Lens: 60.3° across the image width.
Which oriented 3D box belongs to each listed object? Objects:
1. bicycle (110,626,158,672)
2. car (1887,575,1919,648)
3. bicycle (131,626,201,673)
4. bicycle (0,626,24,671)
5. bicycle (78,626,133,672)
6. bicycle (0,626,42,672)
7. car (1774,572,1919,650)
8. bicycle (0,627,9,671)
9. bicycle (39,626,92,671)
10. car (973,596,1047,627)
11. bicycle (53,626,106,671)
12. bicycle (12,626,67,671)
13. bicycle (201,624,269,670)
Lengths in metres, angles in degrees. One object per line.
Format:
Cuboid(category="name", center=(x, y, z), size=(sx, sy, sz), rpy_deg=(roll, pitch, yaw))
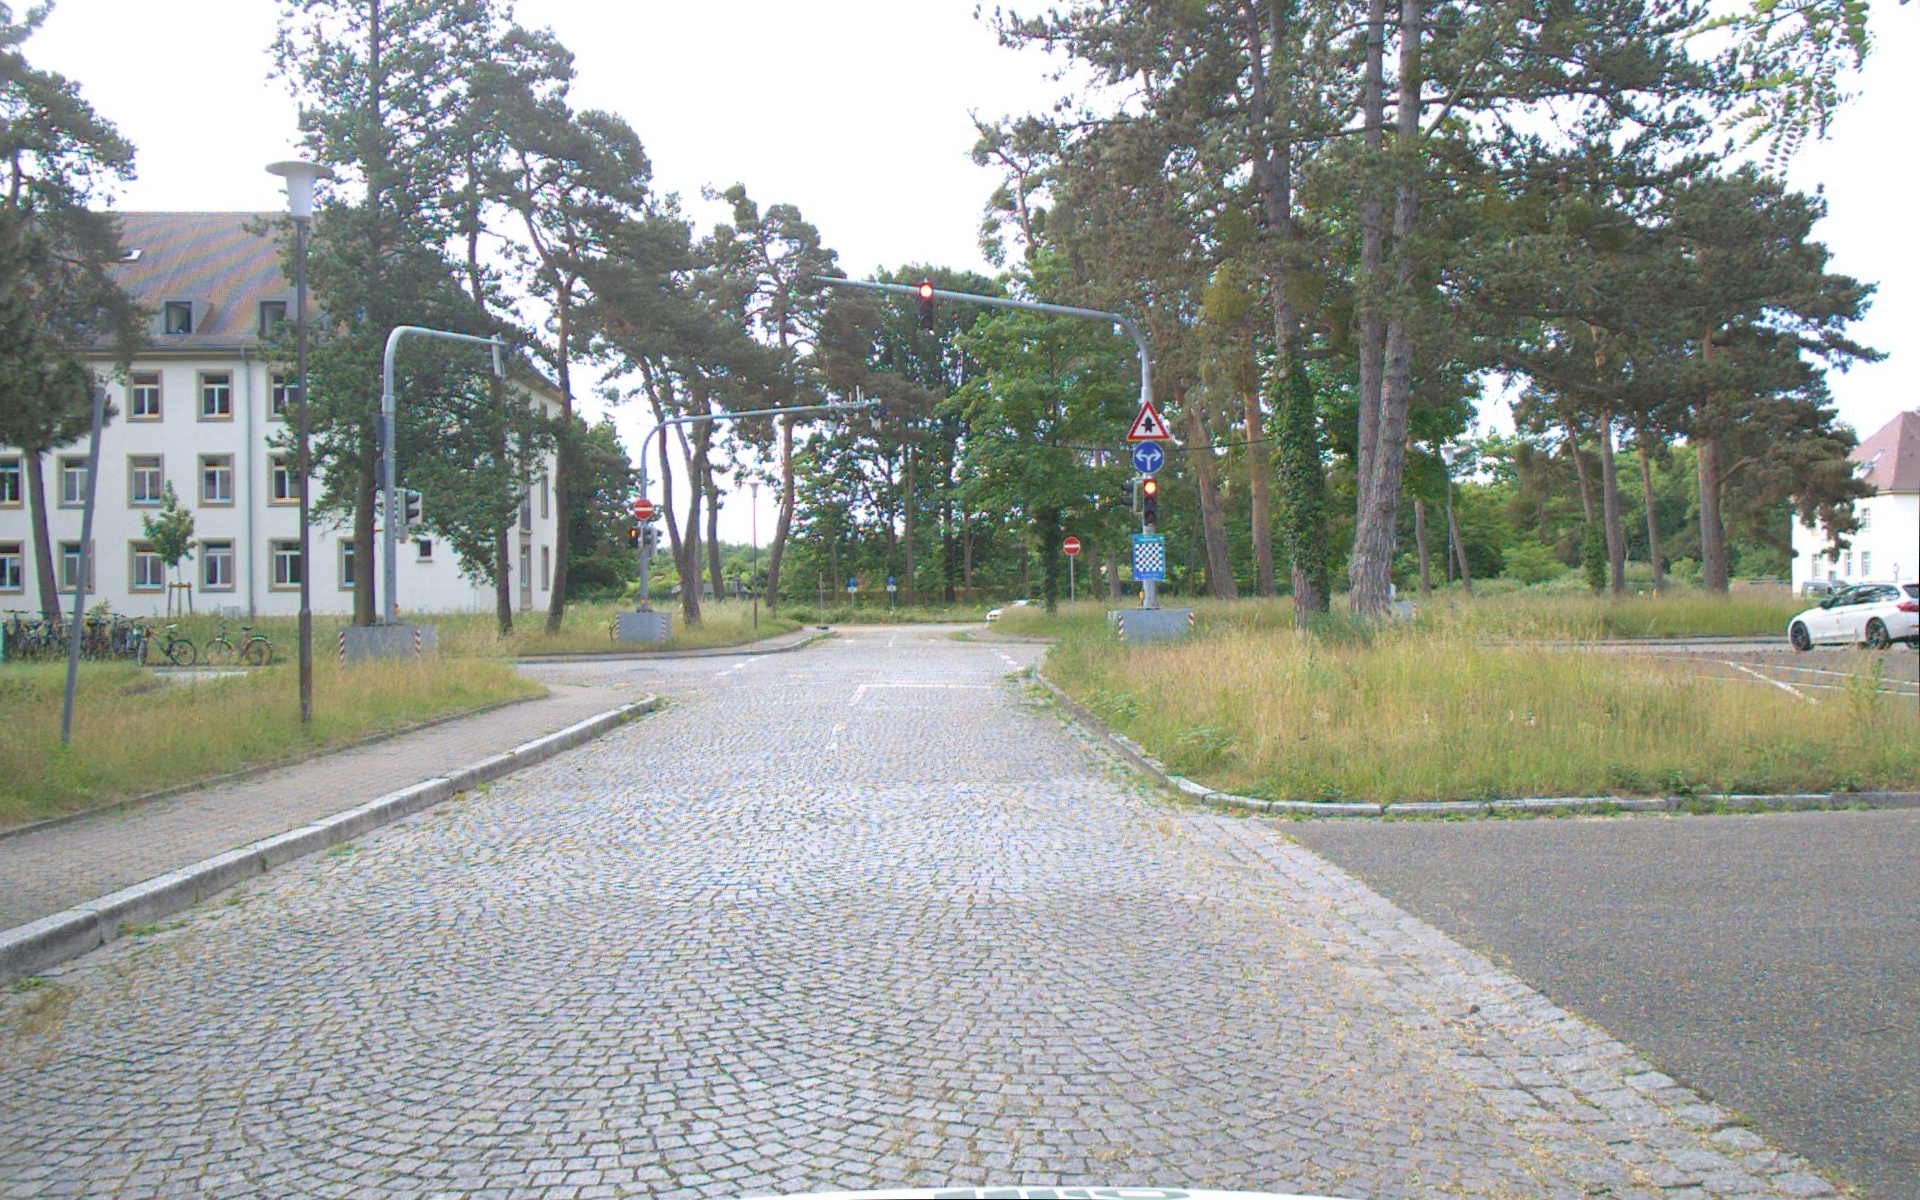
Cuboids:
Cuboid(category="bicycle", center=(-20.947, 1.236, 41.969), size=(0.504, 1.098, 1.584), rpy_deg=(-1, 0, -4))
Cuboid(category="car", center=(22.503, 0.188, 36.227), size=(1.747, 1.634, 4.239), rpy_deg=(-1, -2, -4))
Cuboid(category="bicycle", center=(-19.510, 1.215, 40.642), size=(1.435, 1.098, 0.516), rpy_deg=(-1, 0, -4))
Cuboid(category="bicycle", center=(-24.330, 1.232, 41.768), size=(0.504, 1.098, 1.585), rpy_deg=(-1, 0, -1))
Cuboid(category="bicycle", center=(-21.609, 1.228, 41.854), size=(0.504, 1.098, 1.585), rpy_deg=(-1, 0, 1))
Cuboid(category="bicycle", center=(-23.887, 1.235, 41.793), size=(0.504, 1.098, 1.585), rpy_deg=(-1, 0, -1))
Cuboid(category="car", center=(19.915, 0.288, 36.016), size=(1.812, 1.513, 4.604), rpy_deg=(0, -3, -4))
Cuboid(category="bicycle", center=(-24.708, 1.258, 41.745), size=(0.504, 1.098, 1.585), rpy_deg=(-1, 0, -1))
Cuboid(category="bicycle", center=(-22.659, 1.216, 41.910), size=(0.504, 1.098, 1.585), rpy_deg=(-1, 0, -1))
Cuboid(category="car", center=(2.835, 0.625, 92.866), size=(1.748, 1.463, 4.192), rpy_deg=(-3, 0, 43))
Cuboid(category="bicycle", center=(-22.304, 1.220, 41.919), size=(0.504, 1.098, 1.585), rpy_deg=(-1, 0, -1))
Cuboid(category="bicycle", center=(-23.276, 1.219, 41.838), size=(0.504, 1.098, 1.585), rpy_deg=(-1, 0, -1))
Cuboid(category="bicycle", center=(-17.909, 1.159, 40.873), size=(1.435, 1.084, 0.516), rpy_deg=(-1, 0, -4))
